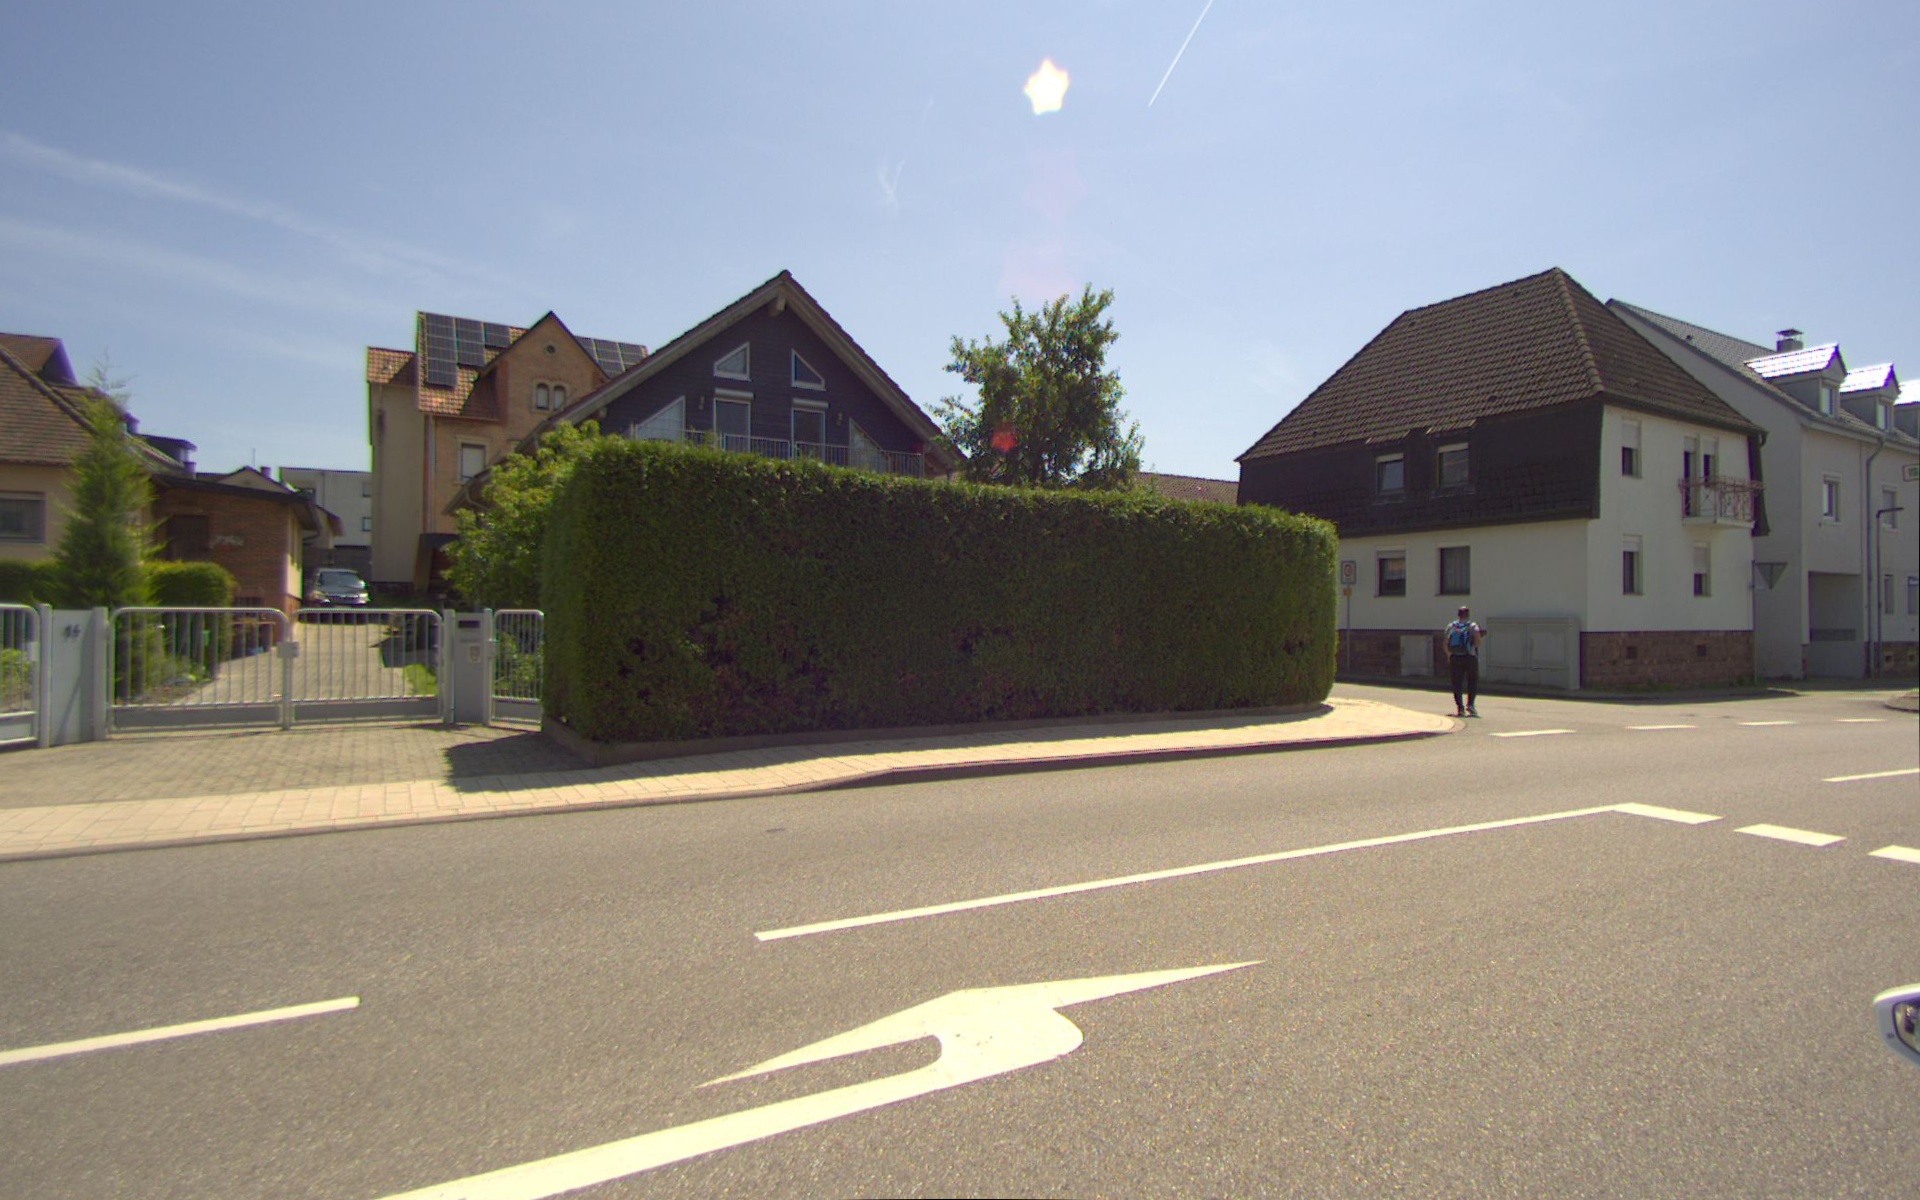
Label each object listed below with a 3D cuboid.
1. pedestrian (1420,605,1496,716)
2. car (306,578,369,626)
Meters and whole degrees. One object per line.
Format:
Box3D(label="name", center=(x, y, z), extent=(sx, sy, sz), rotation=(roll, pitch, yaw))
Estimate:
Box3D(label="pedestrian", center=(8.196, 0.993, 16.527), extent=(0.847, 1.751, 0.723), rotation=(4, -1, -32))
Box3D(label="car", center=(-22.586, 0.048, 36.539), extent=(1.816, 1.620, 3.967), rotation=(2, 0, -31))
